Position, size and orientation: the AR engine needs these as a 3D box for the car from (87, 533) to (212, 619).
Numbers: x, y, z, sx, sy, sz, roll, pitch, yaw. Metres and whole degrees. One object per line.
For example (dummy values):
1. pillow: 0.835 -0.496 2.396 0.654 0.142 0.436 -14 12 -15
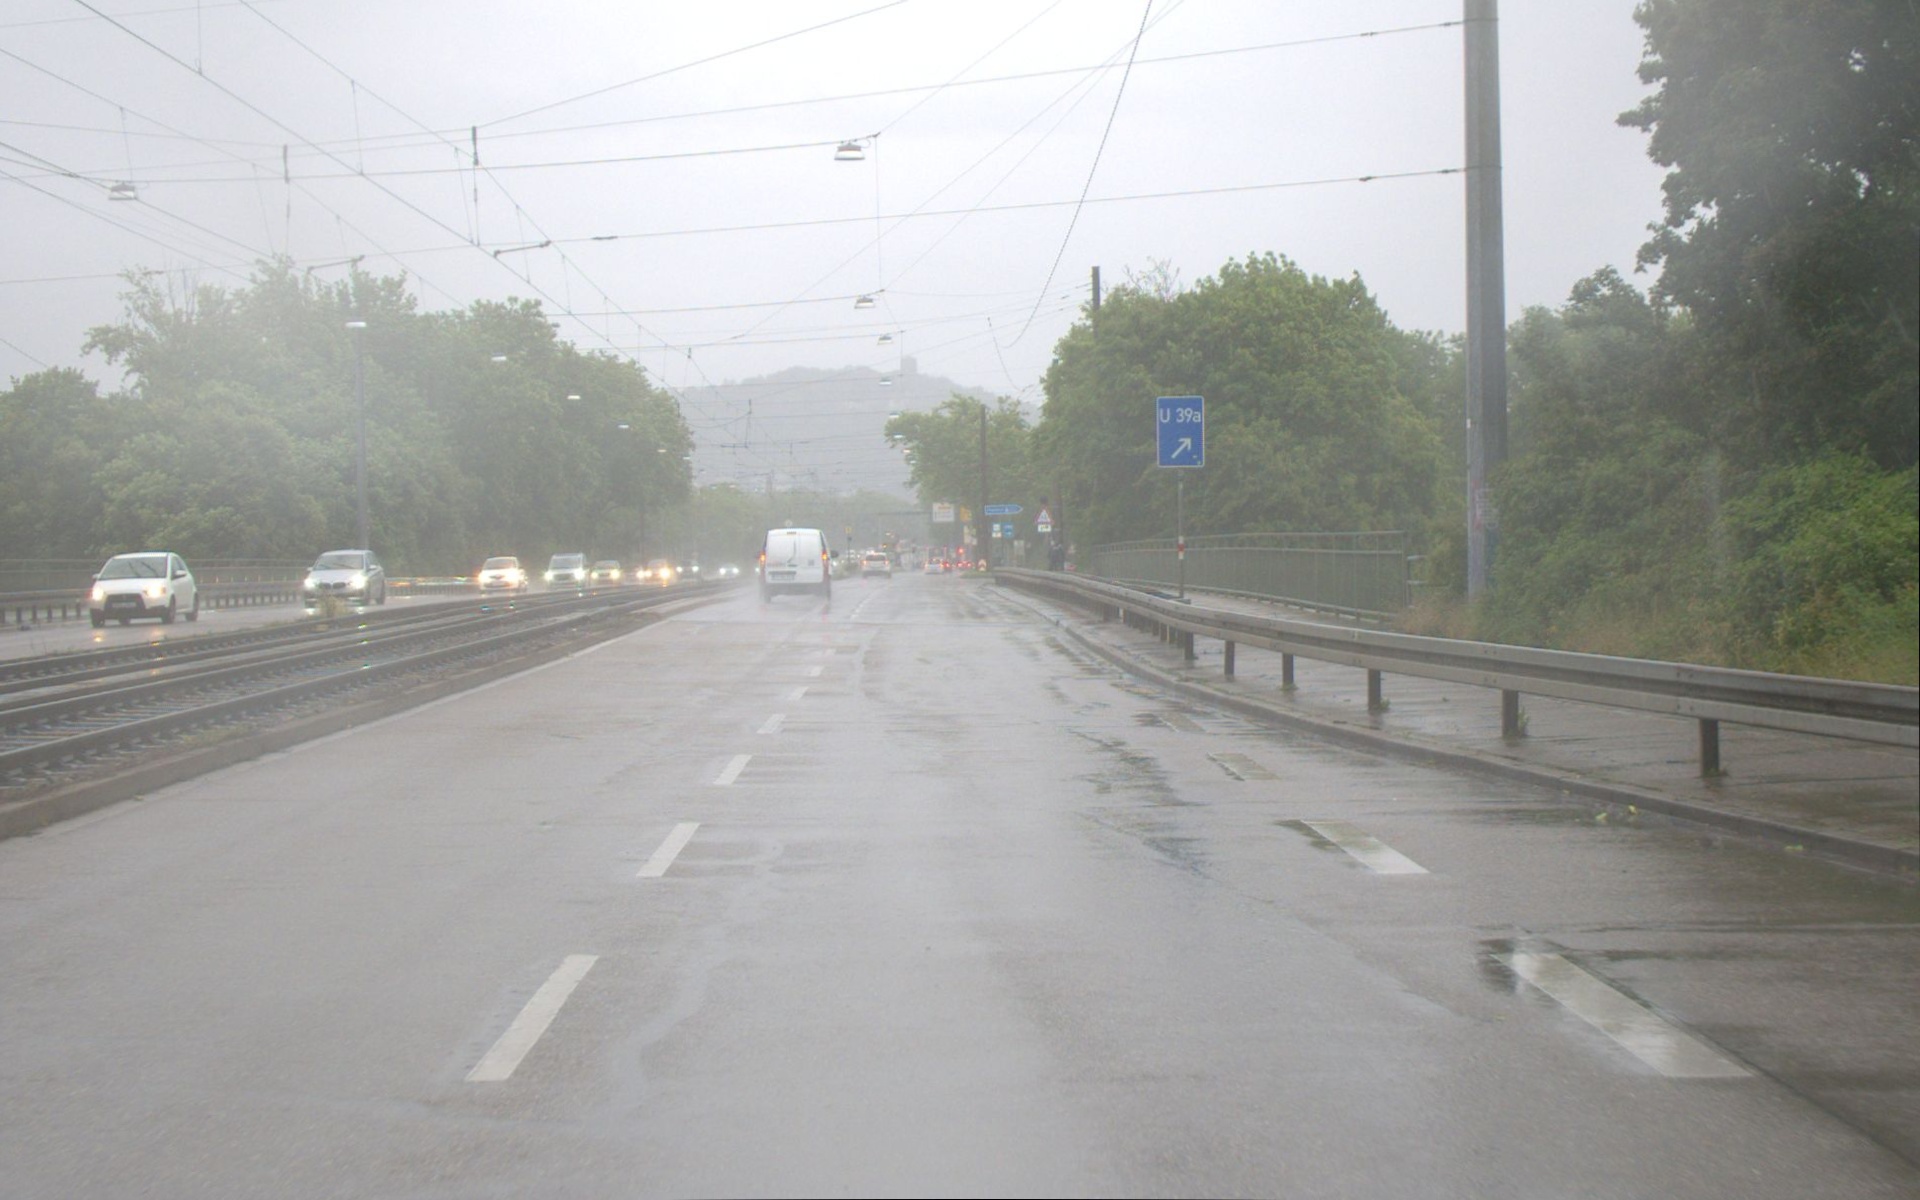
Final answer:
1. car: -17.081 -0.532 72.598 1.754 1.705 4.001 1 2 -1

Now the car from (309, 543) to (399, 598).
1. car: -17.257 -0.854 98.057 1.797 1.448 4.195 1 2 0

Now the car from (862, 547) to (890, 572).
1. car: -5.307 -2.576 217.084 1.743 1.503 3.700 1 2 -1

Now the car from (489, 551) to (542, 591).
1. car: -18.230 -1.200 141.107 1.743 1.503 3.700 1 2 -1

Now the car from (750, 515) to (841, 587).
1. car: -4.022 -1.225 84.774 1.989 1.678 3.740 1 2 1

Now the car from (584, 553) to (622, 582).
1. car: -19.431 -1.772 187.294 1.743 1.503 3.700 1 2 -1
